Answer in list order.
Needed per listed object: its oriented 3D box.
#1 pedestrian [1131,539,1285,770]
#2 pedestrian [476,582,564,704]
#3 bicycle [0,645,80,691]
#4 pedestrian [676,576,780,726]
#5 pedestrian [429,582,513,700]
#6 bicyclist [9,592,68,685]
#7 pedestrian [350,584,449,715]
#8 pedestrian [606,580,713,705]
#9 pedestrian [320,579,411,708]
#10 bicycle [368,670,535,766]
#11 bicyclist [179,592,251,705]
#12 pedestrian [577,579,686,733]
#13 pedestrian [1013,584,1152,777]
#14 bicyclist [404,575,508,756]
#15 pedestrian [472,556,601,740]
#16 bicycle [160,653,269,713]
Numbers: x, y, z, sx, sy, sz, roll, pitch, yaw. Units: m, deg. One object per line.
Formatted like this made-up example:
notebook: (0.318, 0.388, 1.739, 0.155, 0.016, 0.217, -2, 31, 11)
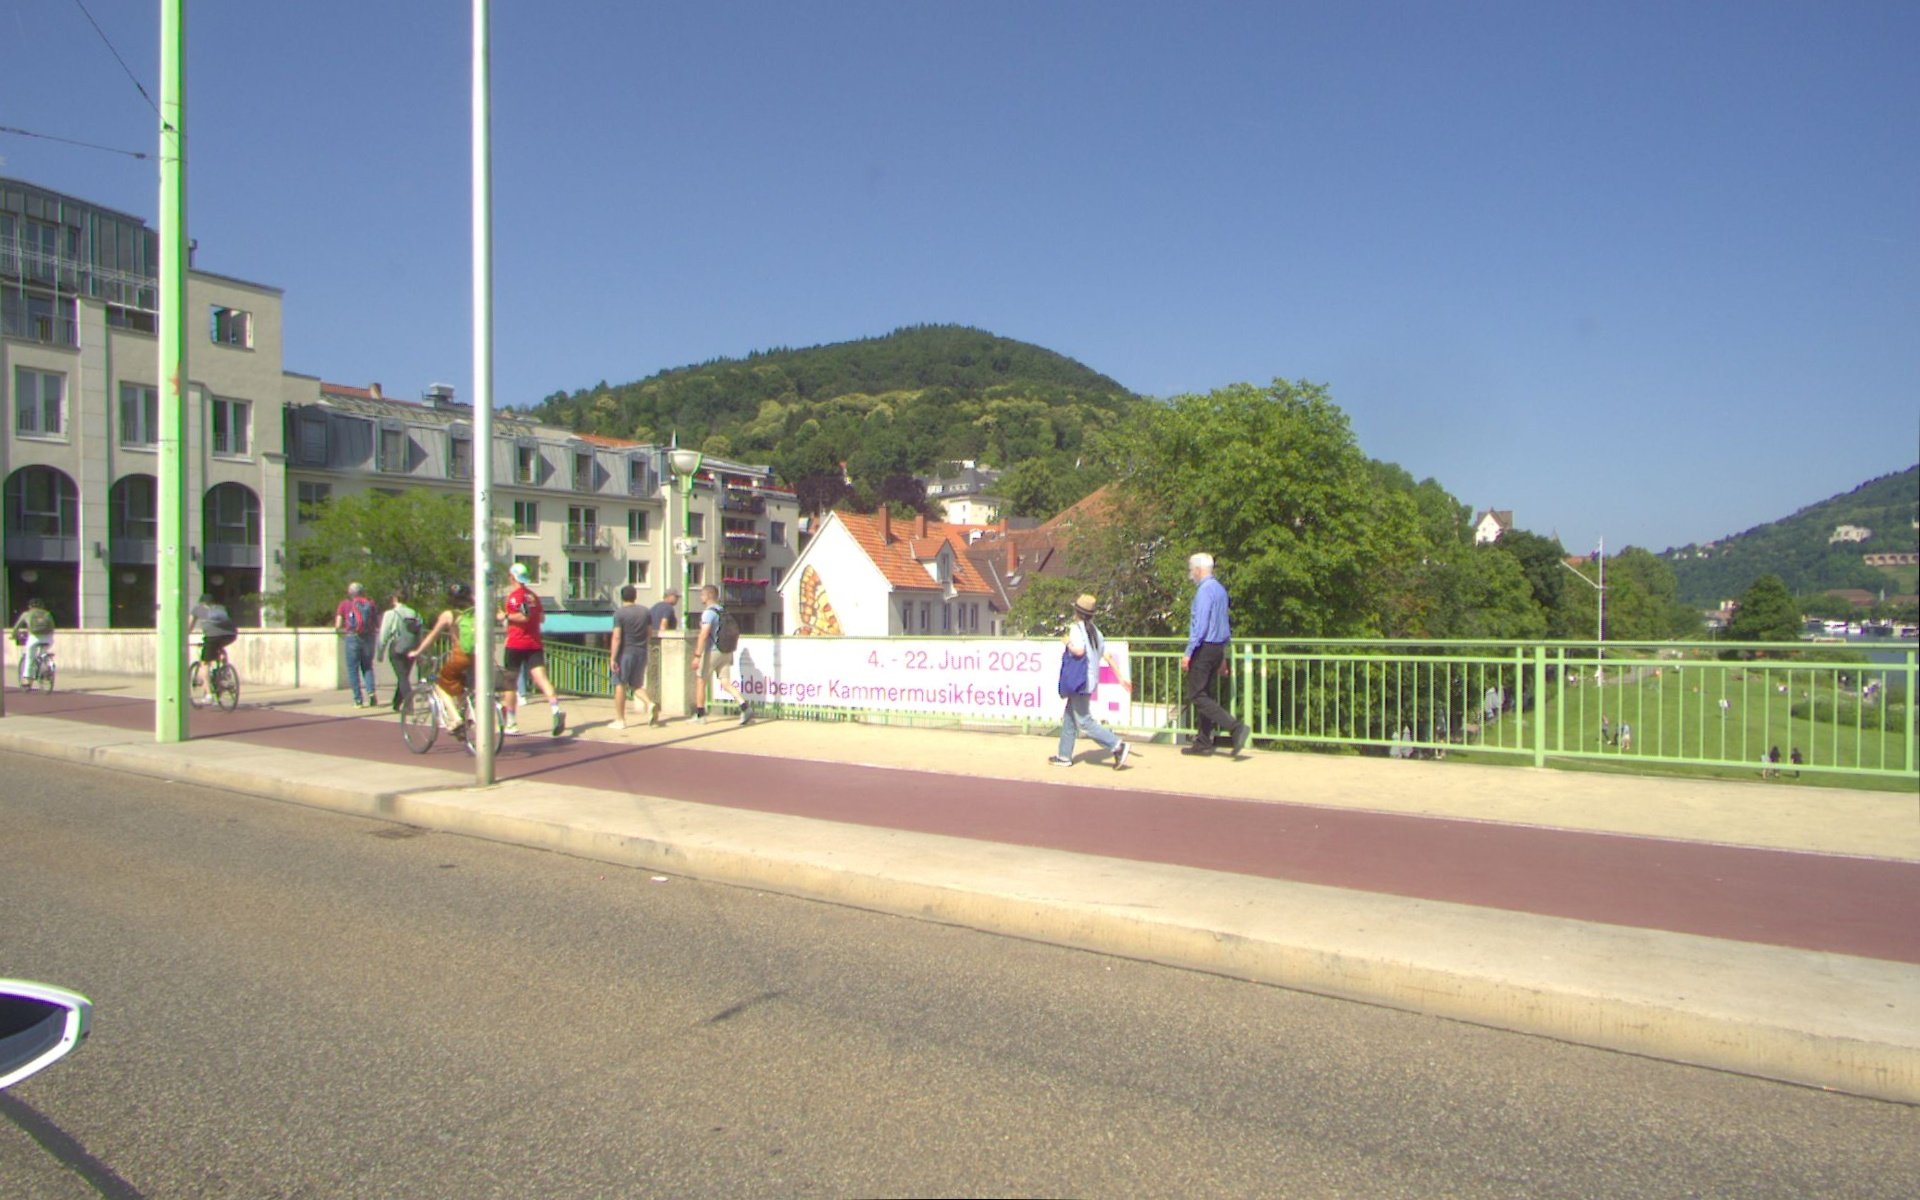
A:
pedestrian: (2.247, 0.458, 9.031, 1.121, 1.923, 0.924, 0, 1, 32)
pedestrian: (-6.643, 0.625, 15.139, 1.001, 1.770, 0.738, 0, 2, 31)
bicycle: (-17.004, 1.236, 18.467, 1.838, 0.776, 0.593, -1, 1, 30)
pedestrian: (-2.821, 0.601, 12.187, 1.001, 1.741, 0.738, 0, 0, 32)
pedestrian: (-7.758, 0.628, 15.883, 1.001, 1.801, 0.737, 0, 2, 32)
bicyclist: (-16.935, 0.688, 18.409, 0.691, 1.672, 0.586, 0, 1, 30)
pedestrian: (-7.789, 0.658, 13.923, 1.057, 1.741, 0.753, 0, 1, 32)
pedestrian: (-4.543, 0.607, 15.191, 0.965, 1.801, 1.202, 0, 1, 26)
pedestrian: (-8.776, 0.618, 14.790, 1.001, 1.826, 0.737, 0, 2, 32)
bicycle: (-4.967, 1.116, 9.746, 1.840, 0.776, 0.592, -1, 1, 33)
bicyclist: (-10.786, 0.686, 14.506, 0.691, 1.579, 0.586, 0, 1, 30)
pedestrian: (-3.912, 0.635, 11.937, 1.001, 1.741, 0.737, 0, 2, 32)
pedestrian: (1.062, 0.649, 8.631, 0.919, 1.550, 0.827, 0, 1, 32)
bicyclist: (-4.863, 0.606, 9.669, 0.692, 1.672, 0.603, 0, 1, 33)
pedestrian: (-4.752, 0.512, 11.243, 1.111, 1.950, 0.809, 0, 1, 32)
bicycle: (-10.834, 1.179, 14.543, 1.804, 0.776, 0.593, -1, 1, 30)
